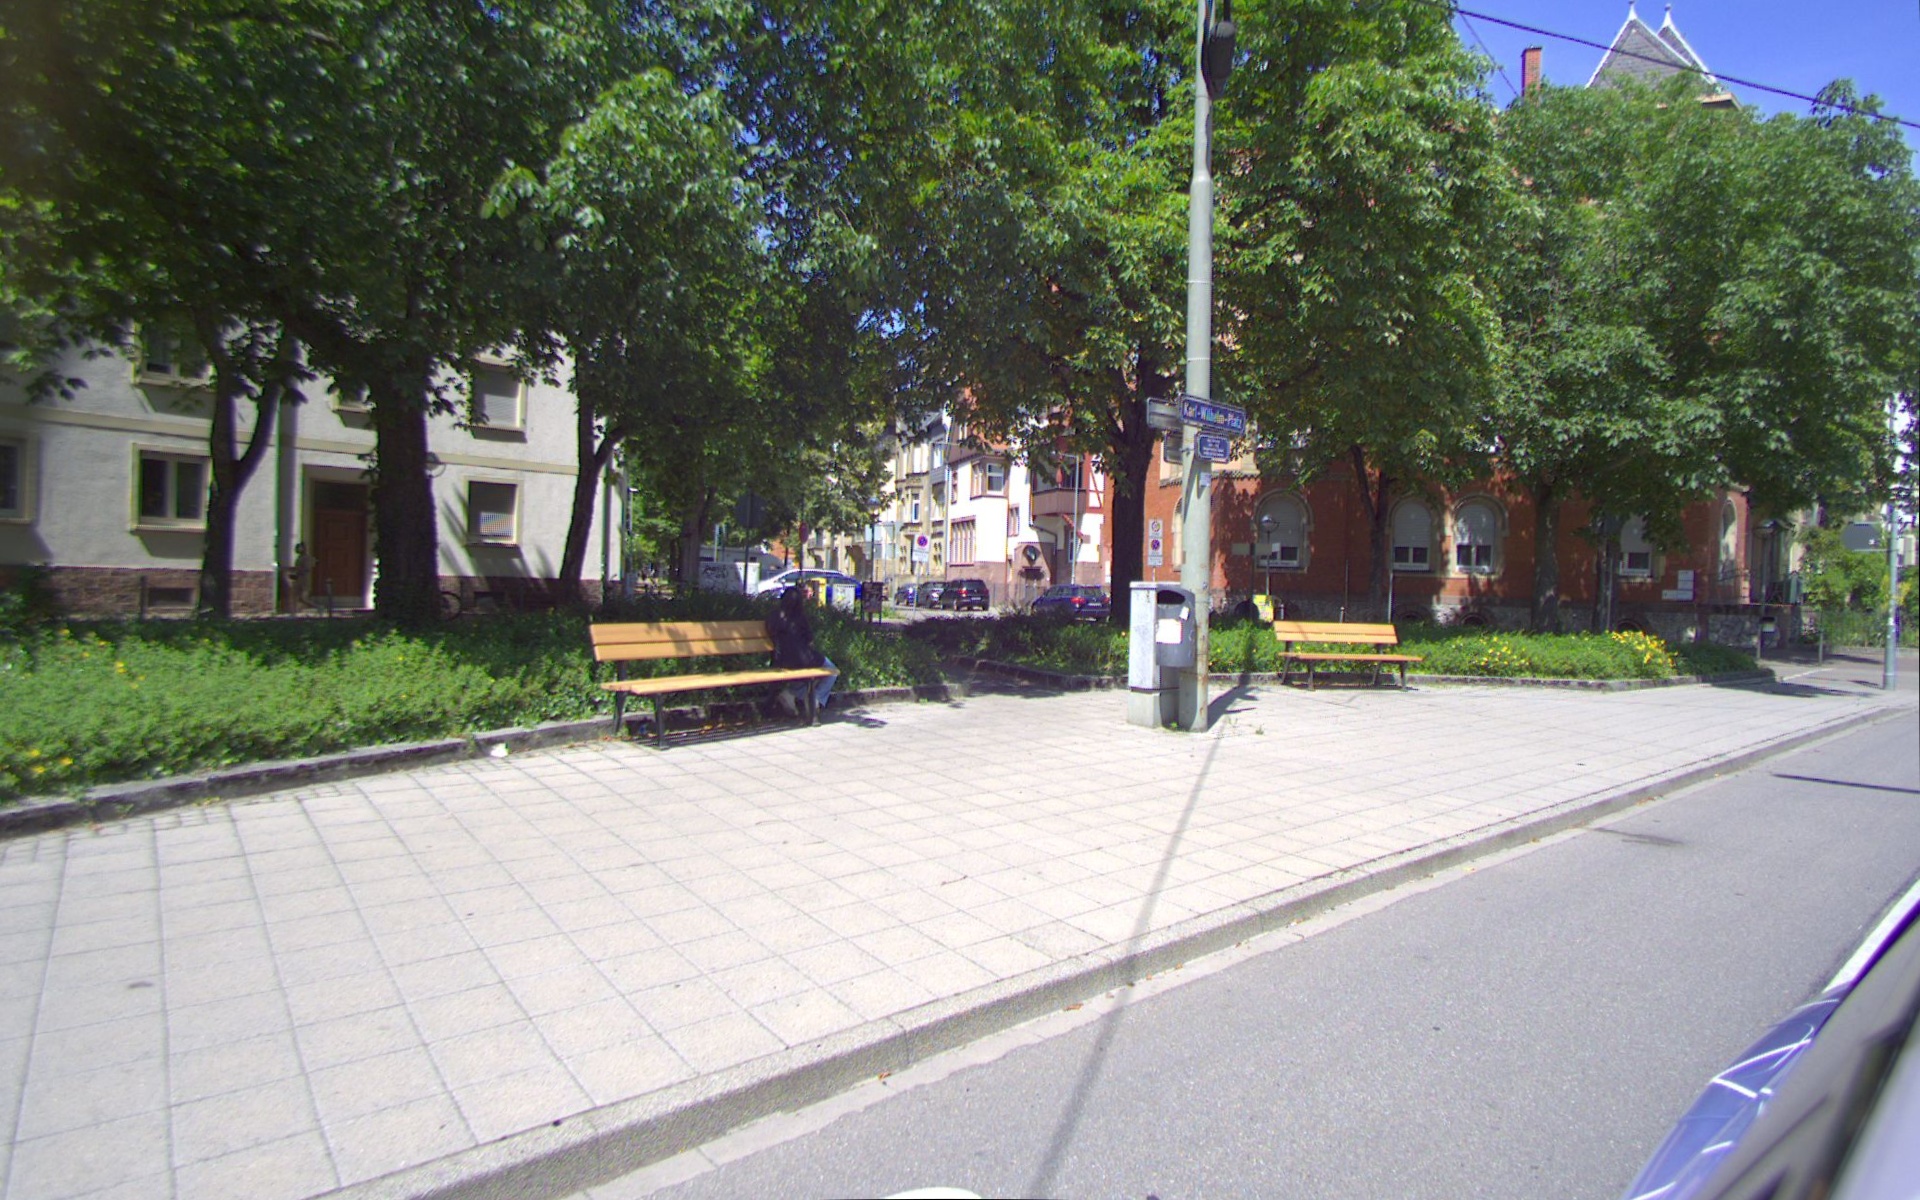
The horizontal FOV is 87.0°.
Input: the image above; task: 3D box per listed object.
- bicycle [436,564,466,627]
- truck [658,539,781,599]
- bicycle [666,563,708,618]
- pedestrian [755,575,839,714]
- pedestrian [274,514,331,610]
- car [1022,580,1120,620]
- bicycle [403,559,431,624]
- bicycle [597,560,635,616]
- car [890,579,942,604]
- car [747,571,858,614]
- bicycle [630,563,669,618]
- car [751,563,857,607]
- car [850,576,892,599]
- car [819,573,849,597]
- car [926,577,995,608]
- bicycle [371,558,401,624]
[{"bbox_3d":[-11.323,-0.114,22.471,0.536,1.316,2.162,0,1,-28],"label":"bicycle"},{"bbox_3d":[-14.017,-1.758,58.964,6.685,3.193,1.939,2,0,-19],"label":"truck"},{"bbox_3d":[-6.855,-0.243,25.315,0.536,1.316,2.162,0,1,-28],"label":"bicycle"},{"bbox_3d":[-1.366,0.359,8.472,0.469,1.105,0.511,2,2,-34],"label":"pedestrian"},{"bbox_3d":[-14.242,-0.814,21.920,0.801,2.039,0.764,1,0,32],"label":"pedestrian"},{"bbox_3d":[4.276,-0.041,39.801,1.865,1.459,4.769,0,1,-21],"label":"car"},{"bbox_3d":[-12.001,-0.206,22.368,0.505,1.364,2.247,0,1,-28],"label":"bicycle"},{"bbox_3d":[-8.519,-0.305,25.033,0.536,1.316,2.162,0,1,-28],"label":"bicycle"},{"bbox_3d":[-2.764,-0.549,62.478,1.865,1.482,4.625,0,1,-21],"label":"car"},{"bbox_3d":[-5.952,-0.275,38.242,3.807,1.447,1.731,2,0,-21],"label":"car"},{"bbox_3d":[-7.745,-0.255,25.194,0.536,1.316,2.162,0,1,-28],"label":"bicycle"},{"bbox_3d":[-6.701,-0.638,43.448,4.176,1.673,1.731,2,0,-21],"label":"car"},{"bbox_3d":[-6.434,-0.915,72.925,1.865,1.575,4.411,0,1,-21],"label":"car"},{"bbox_3d":[-10.845,-1.308,86.885,1.868,2.039,4.009,0,1,-16],"label":"car"},{"bbox_3d":[-0.068,-0.407,53.132,1.946,1.551,5.502,0,1,-19],"label":"car"},{"bbox_3d":[-12.539,-0.215,22.150,0.505,1.361,2.332,0,1,-28],"label":"bicycle"}]
